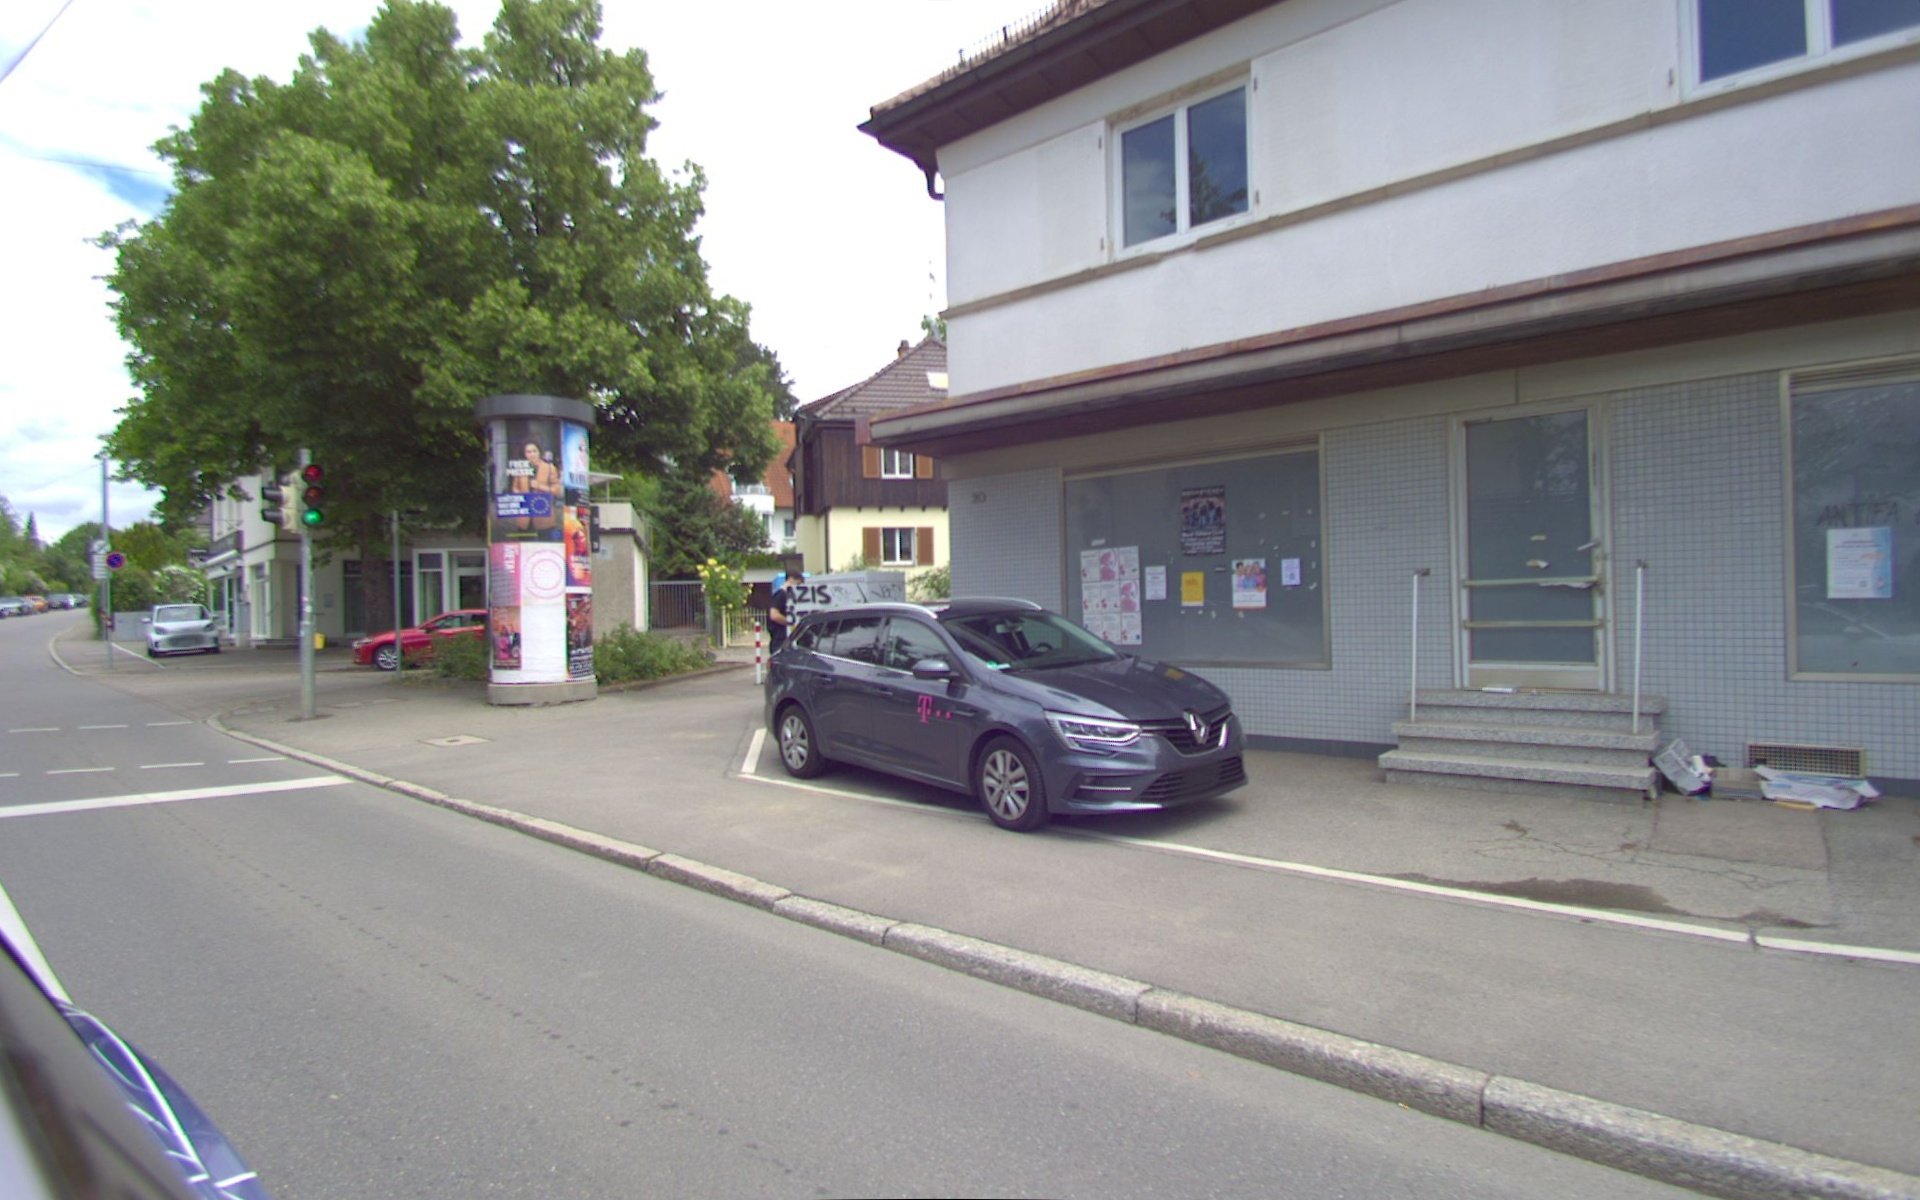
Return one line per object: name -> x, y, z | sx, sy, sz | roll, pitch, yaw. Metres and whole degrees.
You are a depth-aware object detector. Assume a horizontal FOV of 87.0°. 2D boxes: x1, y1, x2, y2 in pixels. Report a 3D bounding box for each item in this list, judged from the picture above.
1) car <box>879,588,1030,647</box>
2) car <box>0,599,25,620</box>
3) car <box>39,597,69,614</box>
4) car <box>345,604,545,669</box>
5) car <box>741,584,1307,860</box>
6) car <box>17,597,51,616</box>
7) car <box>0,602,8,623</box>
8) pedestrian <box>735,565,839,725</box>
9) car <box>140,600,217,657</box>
car -> -0.186, 0.496, 28.715 | 3.912, 1.501, 1.836 | -2, -2, -14
car -> -77.831, 0.778, 82.439 | 1.805, 1.635, 4.503 | -2, 2, -36
car -> -92.946, 0.571, 103.845 | 1.925, 1.638, 4.386 | -3, 2, -38
car -> -12.629, 0.898, 25.111 | 4.161, 1.443, 1.821 | -1, -2, -17
car -> 0.166, 0.685, 7.889 | 1.757, 1.452, 4.534 | -4, 2, -39
car -> -85.106, 0.576, 93.039 | 1.826, 1.638, 4.179 | -3, 2, -37
car -> -72.904, 0.932, 75.704 | 2.255, 1.535, 1.322 | -1, 0, -31
pedestrian -> -1.989, 0.487, 11.609 | 0.874, 1.731, 0.763 | -3, 1, -33
car -> -23.807, 0.830, 30.811 | 1.570, 1.549, 2.927 | -4, 3, -42
